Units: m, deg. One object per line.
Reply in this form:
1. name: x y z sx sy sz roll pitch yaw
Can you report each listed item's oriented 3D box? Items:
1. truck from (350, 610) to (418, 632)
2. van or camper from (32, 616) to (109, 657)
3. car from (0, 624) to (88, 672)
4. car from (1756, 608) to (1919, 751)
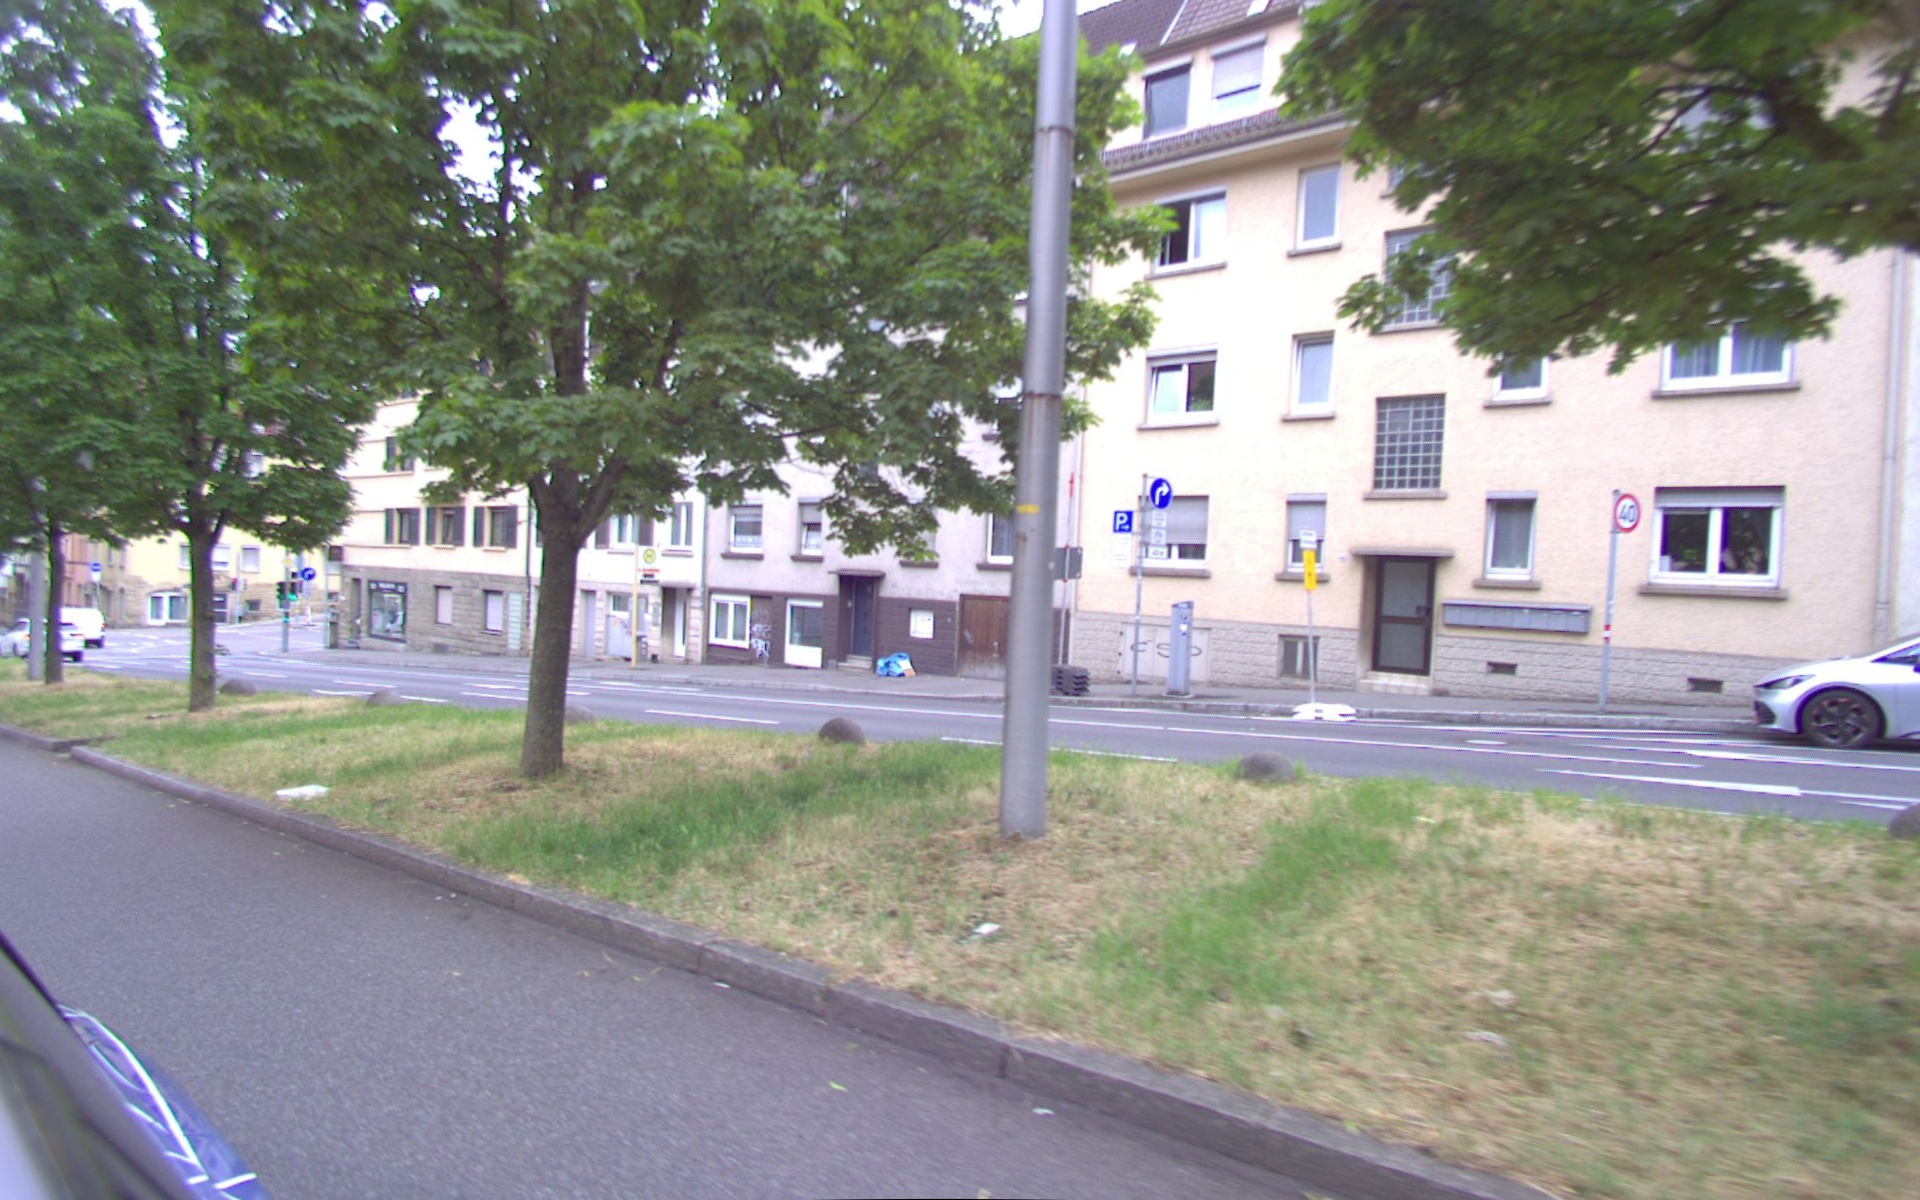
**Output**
1. truck: -40.130 1.441 70.604 1.836 1.429 3.979 -1 0 16
2. van or camper: -41.129 1.636 46.778 4.648 1.774 1.889 -1 -1 38
3. car: -31.006 1.562 33.972 4.578 1.478 1.729 -1 -1 37
4. car: 11.720 0.886 11.470 4.151 1.564 1.975 0 -1 37
